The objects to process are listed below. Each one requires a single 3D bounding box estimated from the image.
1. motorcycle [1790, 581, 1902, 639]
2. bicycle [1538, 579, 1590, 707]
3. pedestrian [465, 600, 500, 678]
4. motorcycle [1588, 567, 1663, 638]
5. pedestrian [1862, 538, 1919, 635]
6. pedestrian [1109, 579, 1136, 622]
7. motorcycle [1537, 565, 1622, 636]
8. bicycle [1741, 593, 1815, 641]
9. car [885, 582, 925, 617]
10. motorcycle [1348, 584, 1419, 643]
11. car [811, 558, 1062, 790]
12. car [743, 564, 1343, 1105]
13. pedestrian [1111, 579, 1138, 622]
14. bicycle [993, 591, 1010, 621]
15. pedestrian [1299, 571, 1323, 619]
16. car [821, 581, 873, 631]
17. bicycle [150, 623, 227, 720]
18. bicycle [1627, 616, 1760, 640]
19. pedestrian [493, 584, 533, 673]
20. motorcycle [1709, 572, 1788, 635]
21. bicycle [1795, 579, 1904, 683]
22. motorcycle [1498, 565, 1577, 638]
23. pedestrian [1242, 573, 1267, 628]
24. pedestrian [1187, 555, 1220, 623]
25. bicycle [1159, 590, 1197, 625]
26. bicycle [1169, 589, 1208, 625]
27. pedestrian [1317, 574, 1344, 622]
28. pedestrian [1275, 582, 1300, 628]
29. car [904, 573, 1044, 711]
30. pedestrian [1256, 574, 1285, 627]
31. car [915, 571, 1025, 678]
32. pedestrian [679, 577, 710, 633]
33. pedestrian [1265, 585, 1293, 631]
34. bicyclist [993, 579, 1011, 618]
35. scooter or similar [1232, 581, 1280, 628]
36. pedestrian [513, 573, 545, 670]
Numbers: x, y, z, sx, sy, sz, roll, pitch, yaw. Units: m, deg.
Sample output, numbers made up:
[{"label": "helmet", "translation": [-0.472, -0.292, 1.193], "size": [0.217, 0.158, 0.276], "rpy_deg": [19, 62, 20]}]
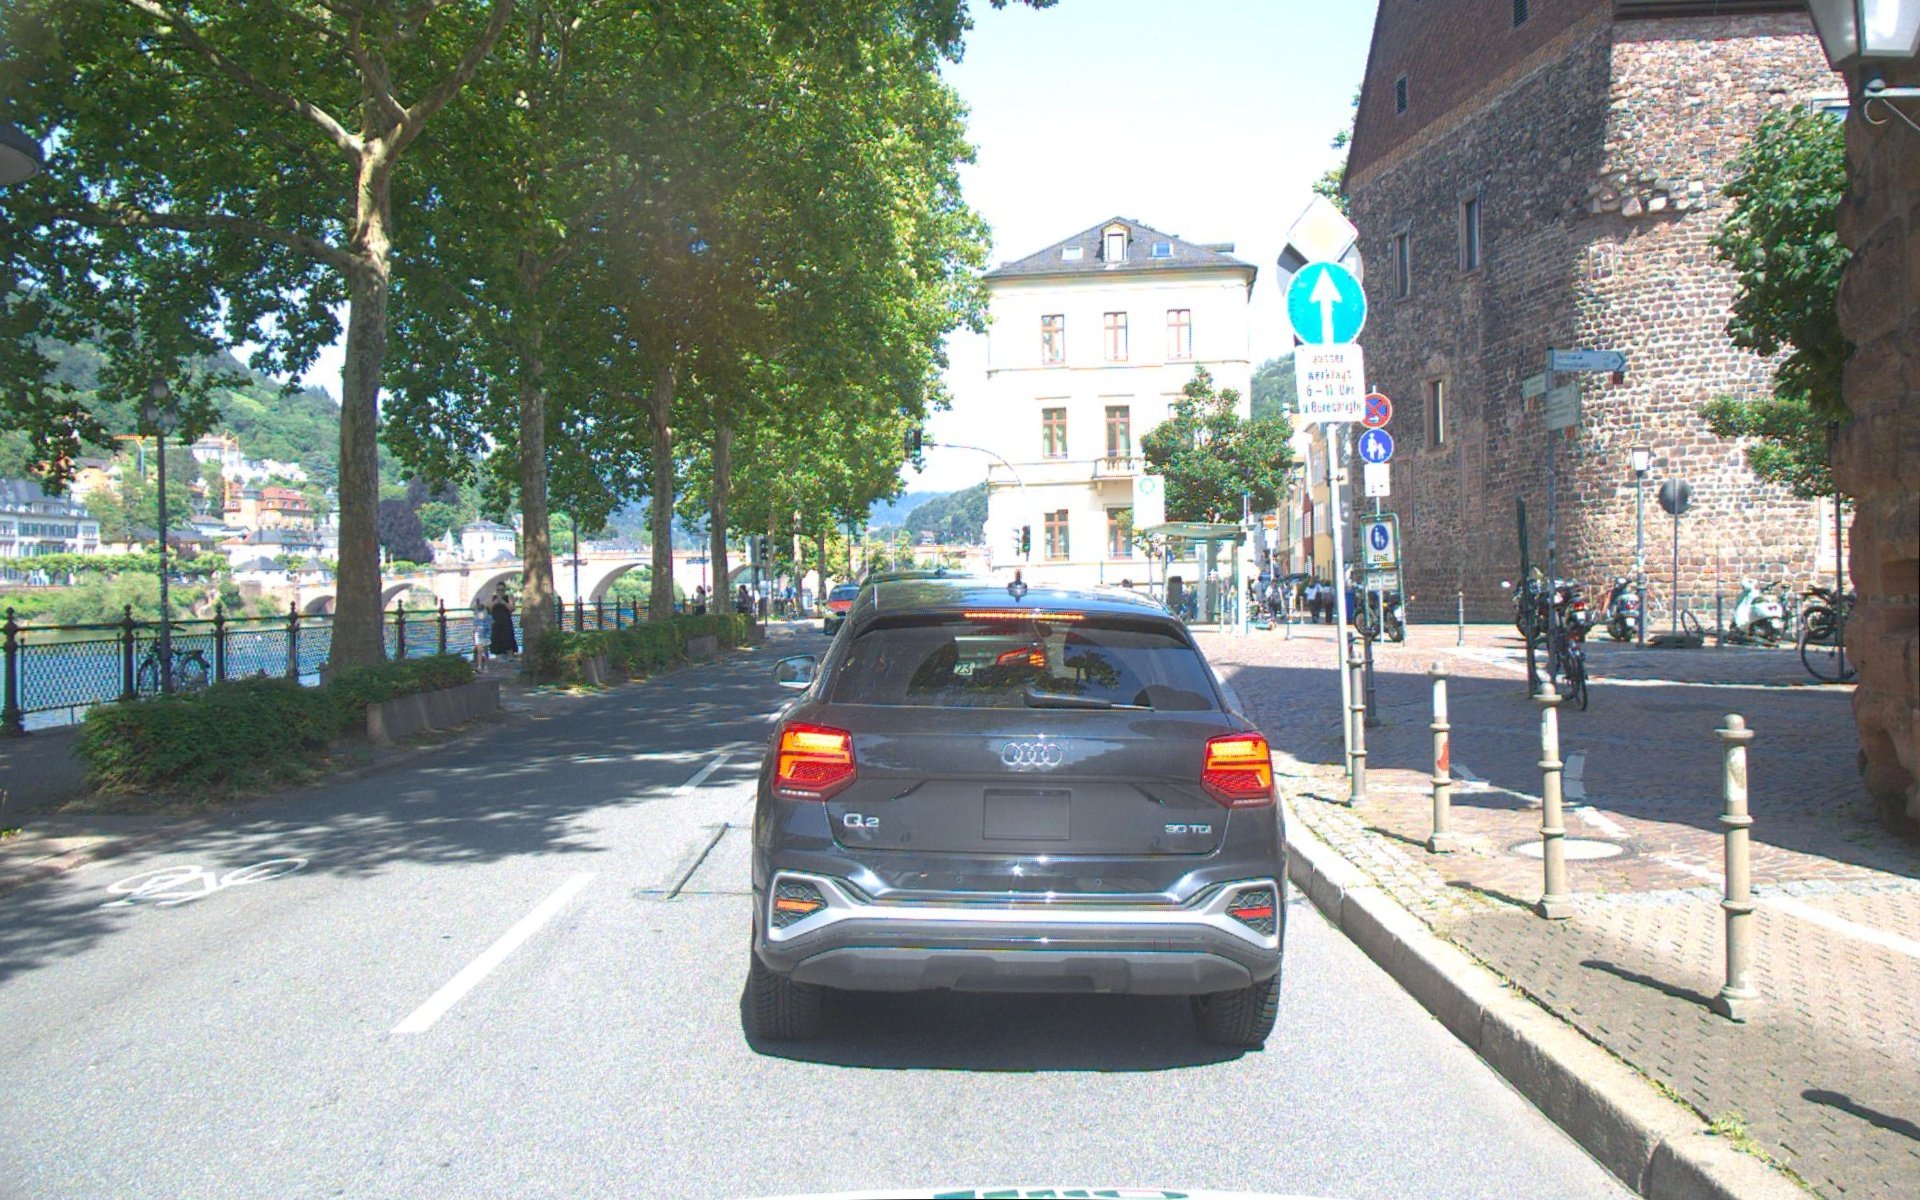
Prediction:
[{"label": "motorcycle", "translation": [16.812, 0.186, 31.404], "size": [1.826, 1.072, 0.480], "rpy_deg": [1, -1, 7]}, {"label": "bicycle", "translation": [6.147, 0.400, 16.867], "size": [0.189, 1.225, 1.771], "rpy_deg": [0, 1, 10]}, {"label": "pedestrian", "translation": [-8.745, 0.711, 30.307], "size": [0.469, 1.386, 0.417], "rpy_deg": [2, 0, 3]}, {"label": "motorcycle", "translation": [12.278, 0.052, 30.563], "size": [0.535, 1.257, 2.030], "rpy_deg": [1, 0, -1]}, {"label": "pedestrian", "translation": [19.977, -0.285, 35.461], "size": [0.857, 2.049, 0.732], "rpy_deg": [1, -1, -3]}, {"label": "pedestrian", "translation": [4.800, 0.007, 48.913], "size": [0.651, 1.253, 0.640], "rpy_deg": [1, -1, -7]}, {"label": "motorcycle", "translation": [11.411, 0.017, 30.521], "size": [0.661, 1.257, 2.312], "rpy_deg": [1, 0, -1]}, {"label": "bicycle", "translation": [15.131, 0.293, 30.623], "size": [0.346, 0.835, 1.926], "rpy_deg": [1, 1, -2]}, {"label": "car", "translation": [-2.996, -0.031, 90.406], "size": [1.952, 1.838, 4.000], "rpy_deg": [1, 0, 1]}, {"label": "motorcycle", "translation": [7.699, 0.227, 30.165], "size": [0.555, 1.030, 2.489], "rpy_deg": [-1, 1, -2]}, {"label": "car", "translation": [-0.191, 0.514, 13.446], "size": [1.756, 1.623, 3.398], "rpy_deg": [1, 0, -1]}, {"label": "car", "translation": [0.215, 0.659, 6.597], "size": [1.707, 1.535, 3.646], "rpy_deg": [1, 1, -1]}, {"label": "pedestrian", "translation": [4.799, 0.029, 48.175], "size": [0.651, 1.233, 0.640], "rpy_deg": [1, -1, -7]}, {"label": "bicycle", "translation": [1.567, 0.242, 62.400], "size": [0.428, 1.105, 1.675], "rpy_deg": [1, 0, -5]}, {"label": "pedestrian", "translation": [12.319, -0.160, 58.088], "size": [0.595, 1.647, 0.710], "rpy_deg": [-3, 0, -1]}, {"label": "car", "translation": [-4.175, 0.200, 61.657], "size": [1.639, 1.689, 4.222], "rpy_deg": [-3, 0, -1]}, {"label": "bicycle", "translation": [-9.531, 0.869, 20.466], "size": [0.352, 1.110, 1.295], "rpy_deg": [2, 0, -2]}, {"label": "bicycle", "translation": [12.269, 0.464, 27.727], "size": [1.887, 0.388, 0.918], "rpy_deg": [0, -1, 14]}, {"label": "pedestrian", "translation": [-8.737, 0.555, 32.348], "size": [0.589, 1.715, 0.583], "rpy_deg": [-1, 0, -2]}, {"label": "motorcycle", "translation": [14.043, 0.068, 29.507], "size": [0.496, 1.092, 1.840], "rpy_deg": [1, 0, -1]}, {"label": "bicycle", "translation": [10.611, 0.346, 19.781], "size": [0.437, 1.182, 1.731], "rpy_deg": [-1, 1, 3]}, {"label": "motorcycle", "translation": [10.530, 0.035, 30.214], "size": [0.642, 1.288, 2.199], "rpy_deg": [0, 0, -1]}, {"label": "pedestrian", "translation": [7.613, 0.012, 42.767], "size": [0.546, 1.409, 0.588], "rpy_deg": [1, -1, 1]}, {"label": "pedestrian", "translation": [6.198, -0.279, 42.106], "size": [0.641, 1.691, 0.809], "rpy_deg": [-1, 0, -6]}, {"label": "bicycle", "translation": [6.555, 0.215, 49.705], "size": [1.166, 1.033, 0.178], "rpy_deg": [1, -1, -20]}, {"label": "bicycle", "translation": [6.787, 0.222, 49.074], "size": [1.184, 1.053, 0.178], "rpy_deg": [1, -1, -20]}, {"label": "pedestrian", "translation": [12.939, -0.061, 57.811], "size": [0.677, 1.640, 0.891], "rpy_deg": [-2, 0, -1]}, {"label": "pedestrian", "translation": [14.695, 0.221, 74.176], "size": [0.925, 2.049, 0.807], "rpy_deg": [1, -1, -1]}, {"label": "car", "translation": [0.140, 0.487, 21.539], "size": [1.676, 1.637, 3.654], "rpy_deg": [0, 0, -1]}, {"label": "pedestrian", "translation": [12.161, 0.036, 64.751], "size": [0.921, 2.049, 0.806], "rpy_deg": [1, -1, -5]}, {"label": "car", "translation": [0.128, 0.381, 28.669], "size": [1.758, 1.711, 3.999], "rpy_deg": [1, 0, -1]}, {"label": "pedestrian", "translation": [-8.865, 0.174, 55.249], "size": [0.891, 1.843, 0.586], "rpy_deg": [1, 0, 3]}, {"label": "pedestrian", "translation": [10.397, 0.262, 53.960], "size": [0.626, 1.469, 0.797], "rpy_deg": [-2, 0, -7]}, {"label": "bicyclist", "translation": [1.572, -0.053, 62.457], "size": [0.593, 1.475, 0.590], "rpy_deg": [1, -1, -6]}, {"label": "scooter or similar", "translation": [7.076, 0.105, 39.534], "size": [1.067, 1.084, 0.323], "rpy_deg": [1, -1, -3]}, {"label": "pedestrian", "translation": [-8.588, 0.415, 32.945], "size": [0.523, 1.920, 0.436], "rpy_deg": [0, 0, -1]}]
